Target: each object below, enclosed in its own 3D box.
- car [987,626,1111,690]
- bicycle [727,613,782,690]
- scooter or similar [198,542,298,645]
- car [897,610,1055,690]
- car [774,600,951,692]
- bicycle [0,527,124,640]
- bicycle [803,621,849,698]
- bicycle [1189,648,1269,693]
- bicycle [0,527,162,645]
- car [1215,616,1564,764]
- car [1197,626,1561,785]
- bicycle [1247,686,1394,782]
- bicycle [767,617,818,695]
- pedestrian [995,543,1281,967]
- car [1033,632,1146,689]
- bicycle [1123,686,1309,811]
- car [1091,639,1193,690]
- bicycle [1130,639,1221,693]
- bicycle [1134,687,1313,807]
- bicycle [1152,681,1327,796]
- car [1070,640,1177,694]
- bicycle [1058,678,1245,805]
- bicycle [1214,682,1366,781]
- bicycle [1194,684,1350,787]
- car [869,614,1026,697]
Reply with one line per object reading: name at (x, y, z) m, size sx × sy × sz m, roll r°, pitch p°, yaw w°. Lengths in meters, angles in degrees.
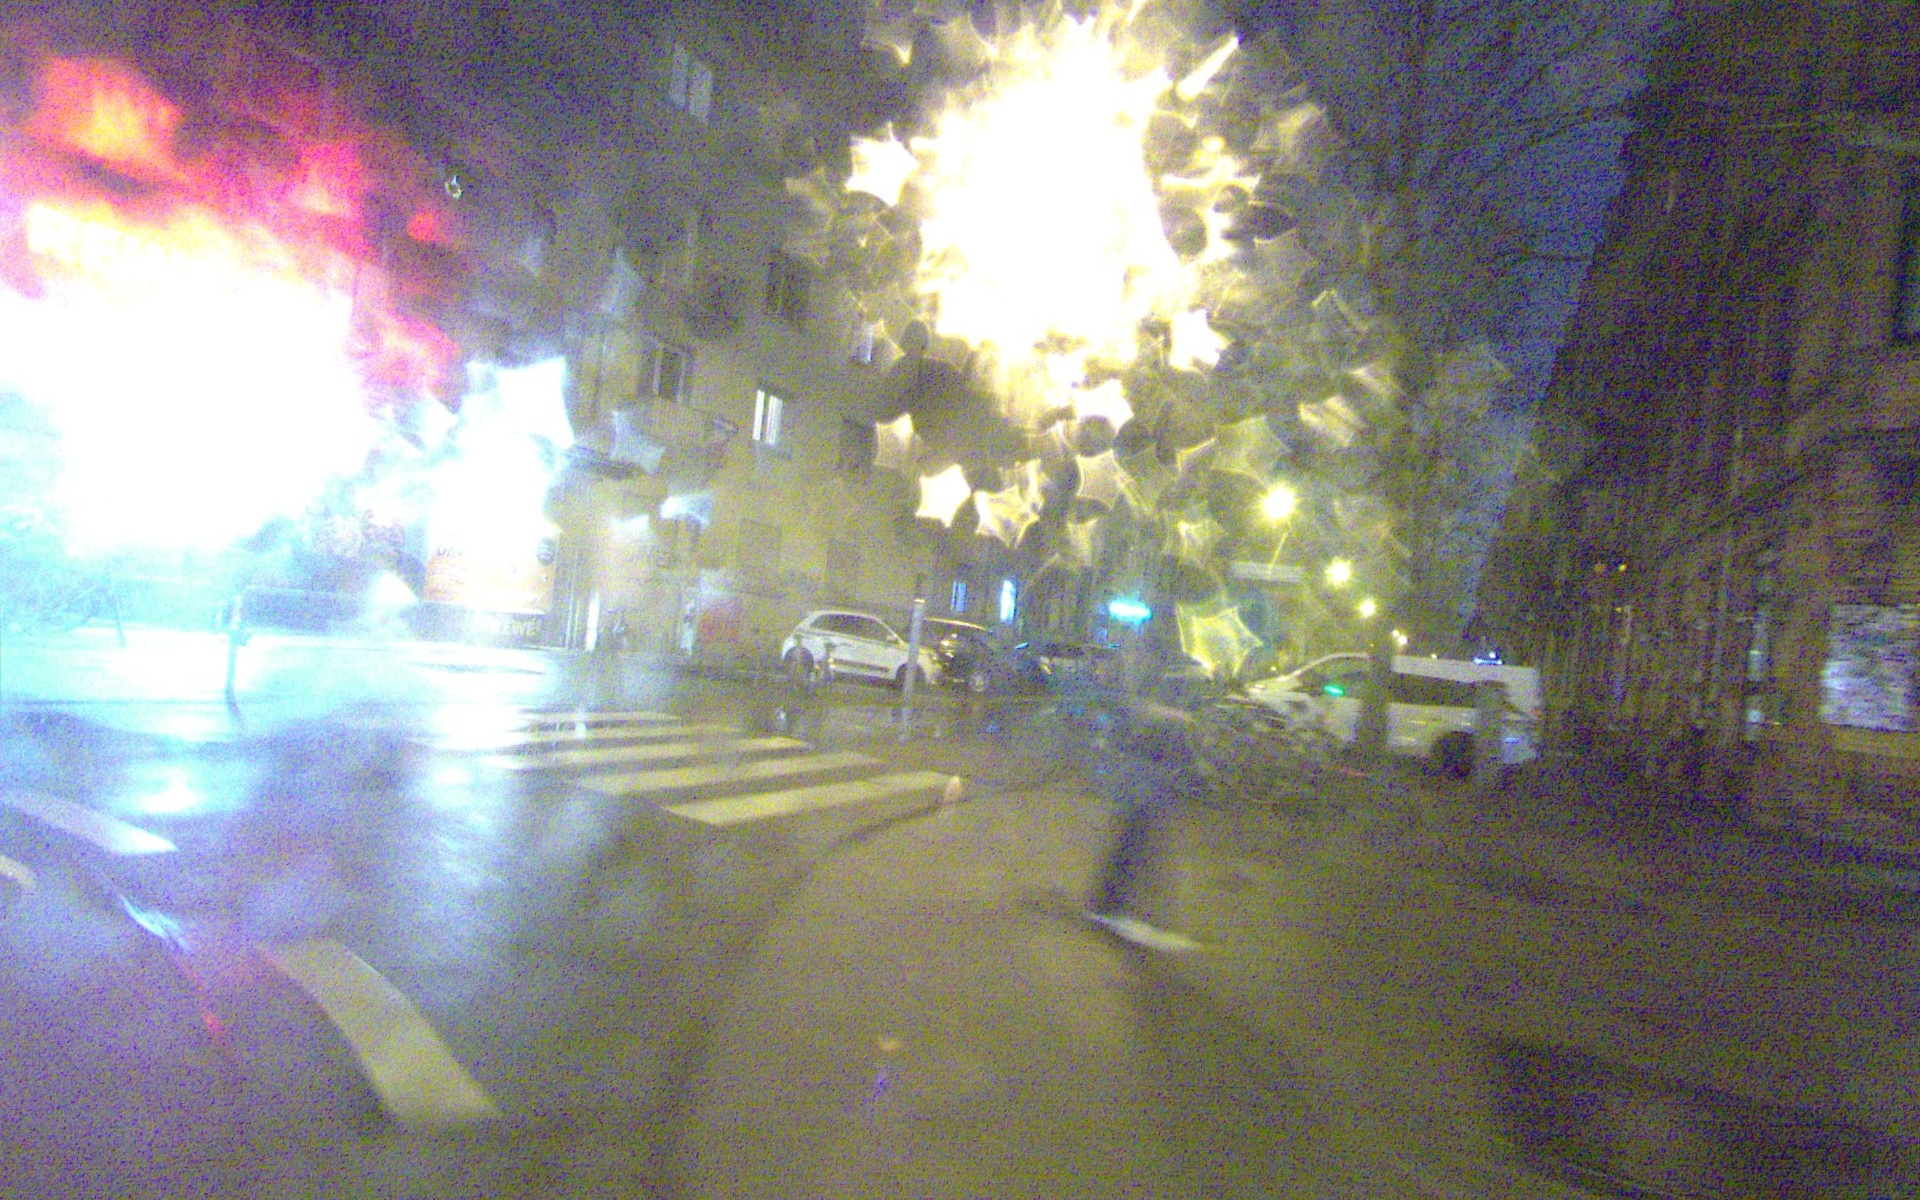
car at (2.750, 1.820, 31.578) m, size 3.624 × 1.595 × 1.759 m, roll 6°, pitch -3°, yaw 1°
bicycle at (-3.428, 0.875, 16.910) m, size 0.444 × 1.189 × 1.967 m, roll 6°, pitch -3°, yaw -1°
scooter or similar at (-9.744, -0.100, 13.767) m, size 1.291 × 1.244 × 0.526 m, roll 6°, pitch -2°, yaw 32°
car at (0.425, 1.372, 27.344) m, size 4.030 × 1.681 × 1.759 m, roll 6°, pitch -3°, yaw 1°
car at (-2.100, 1.037, 22.426) m, size 3.624 × 1.595 × 1.759 m, roll 6°, pitch -3°, yaw 1°
bicycle at (-10.858, -0.202, 11.692) m, size 0.378 × 1.187 × 1.646 m, roll 3°, pitch -4°, yaw 30°
bicycle at (-2.236, 1.007, 16.992) m, size 0.444 × 1.189 × 1.967 m, roll 6°, pitch -3°, yaw -1°
bicycle at (15.368, 4.036, 57.624) m, size 3.925 × 2.037 × 2.001 m, roll 7°, pitch -1°, yaw 1°
bicycle at (-10.115, -0.148, 11.227) m, size 0.378 × 1.188 × 1.784 m, roll 6°, pitch -1°, yaw 30°
car at (7.707, 1.574, 18.465) m, size 5.449 × 1.912 × 2.000 m, roll 6°, pitch -2°, yaw 25°
car at (6.641, 1.621, 16.322) m, size 5.006 × 1.783 × 2.000 m, roll 6°, pitch -2°, yaw 25°
bicycle at (4.870, 1.789, 13.639) m, size 1.746 × 1.021 × 0.403 m, roll 7°, pitch 0°, yaw 27°
bicycle at (-2.793, 0.945, 16.951) m, size 0.444 × 1.189 × 1.967 m, roll 6°, pitch -3°, yaw -1°
pedestrian at (0.914, 0.709, 5.112) m, size 0.969 × 1.855 × 0.876 m, roll 6°, pitch -1°, yaw 38°
car at (4.516, 2.124, 35.371) m, size 3.624 × 1.595 × 1.759 m, roll 6°, pitch -3°, yaw 1°
bicycle at (2.718, 1.551, 10.748) m, size 1.778 × 1.021 × 0.403 m, roll 7°, pitch 0°, yaw 27°
car at (7.257, 2.580, 40.342) m, size 3.624 × 1.595 × 1.759 m, roll 6°, pitch -3°, yaw 1°
bicycle at (10.246, 3.117, 48.084) m, size 3.924 × 2.037 × 2.002 m, roll 7°, pitch -1°, yaw 7°
bicycle at (2.895, 1.594, 11.141) m, size 1.778 × 1.021 × 0.379 m, roll 7°, pitch 0°, yaw 27°
bicycle at (3.178, 1.551, 11.505) m, size 1.778 × 1.021 × 0.403 m, roll 7°, pitch 0°, yaw 27°
car at (6.090, 2.499, 37.695) m, size 3.624 × 1.595 × 1.759 m, roll 6°, pitch -3°, yaw 1°
bicycle at (1.994, 1.455, 10.581) m, size 1.778 × 1.021 × 0.455 m, roll 7°, pitch 0°, yaw 27°
bicycle at (4.361, 1.718, 13.330) m, size 1.778 × 1.021 × 0.403 m, roll 7°, pitch 0°, yaw 27°
bicycle at (3.983, 1.704, 12.894) m, size 1.778 × 1.021 × 0.403 m, roll 7°, pitch 0°, yaw 27°
car at (-0.290, 1.375, 24.876) m, size 3.624 × 1.595 × 1.759 m, roll 6°, pitch -3°, yaw 1°
